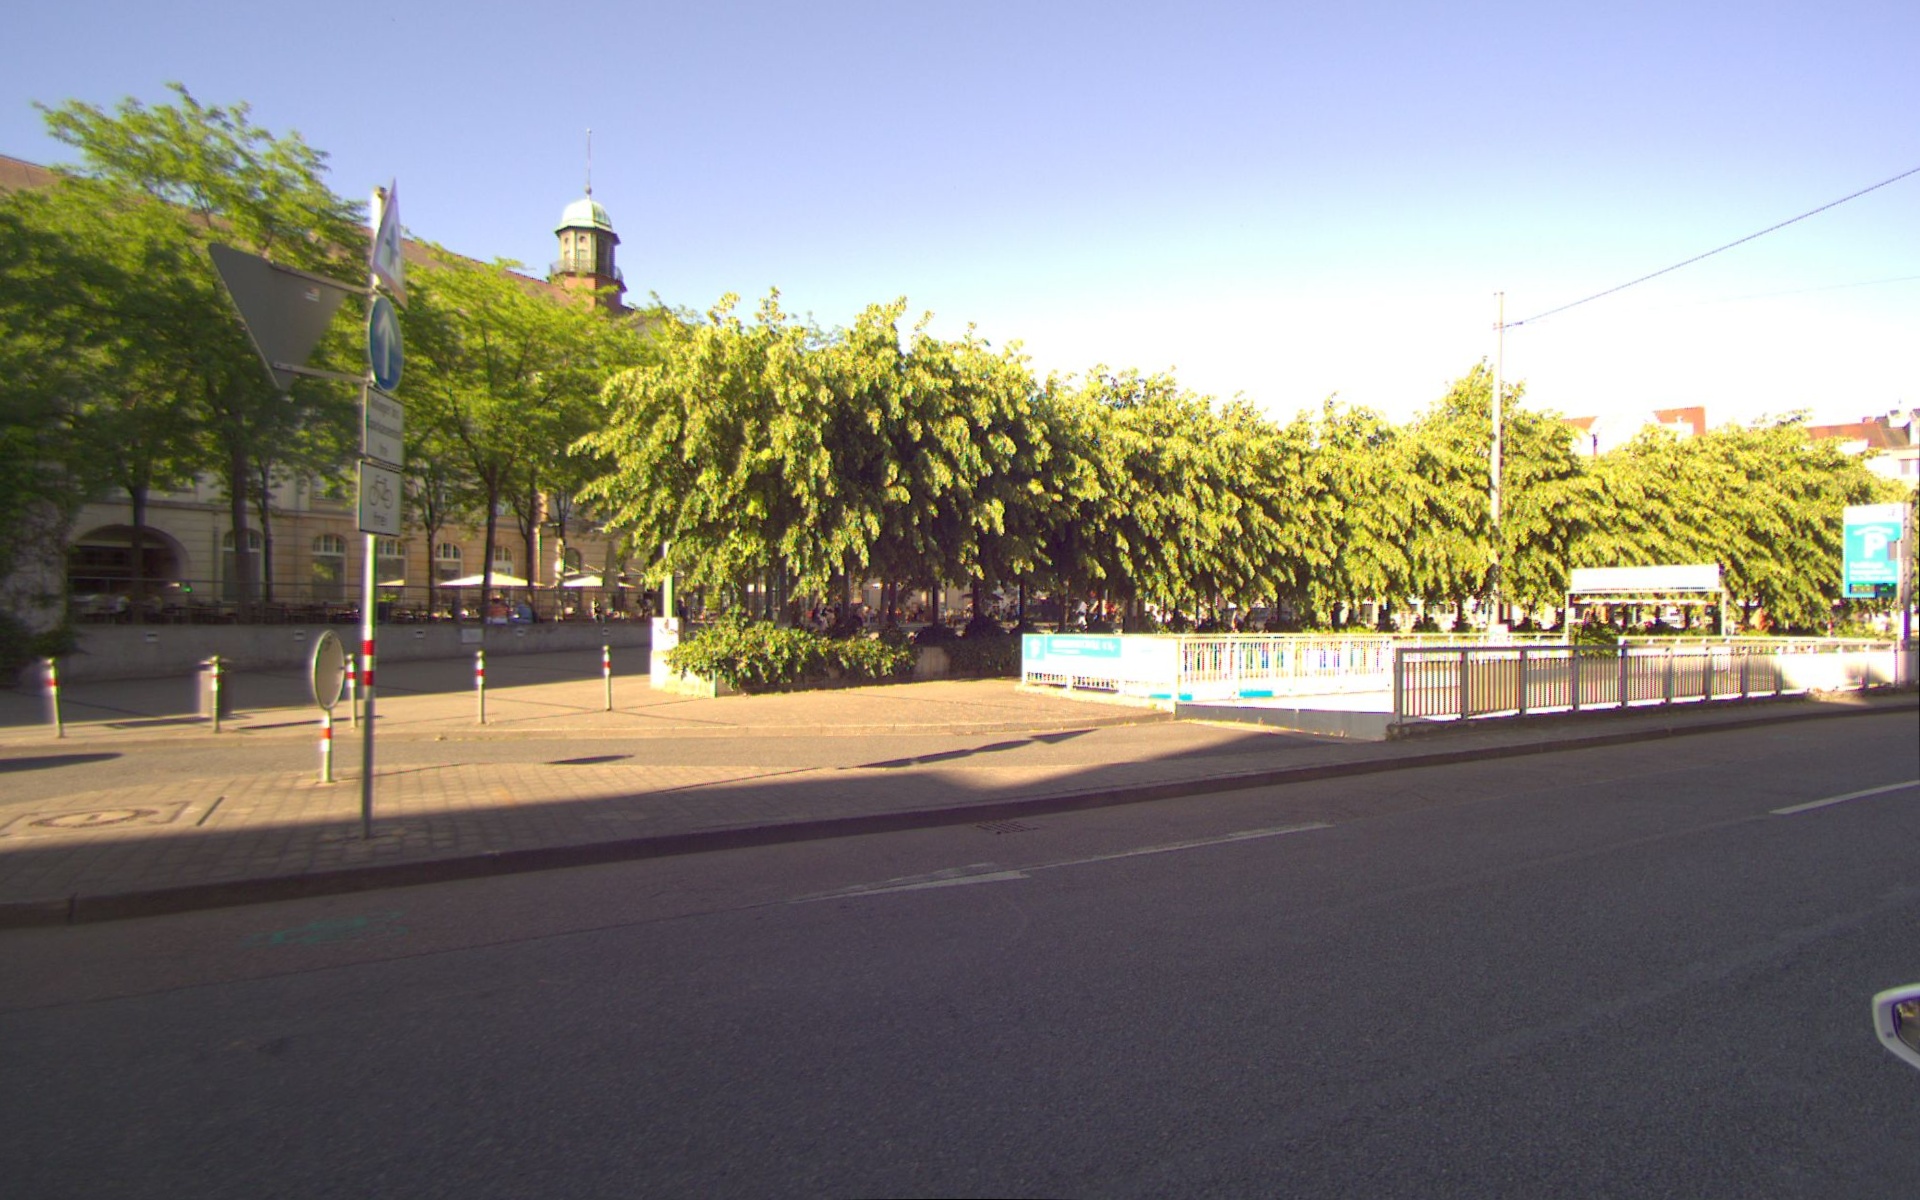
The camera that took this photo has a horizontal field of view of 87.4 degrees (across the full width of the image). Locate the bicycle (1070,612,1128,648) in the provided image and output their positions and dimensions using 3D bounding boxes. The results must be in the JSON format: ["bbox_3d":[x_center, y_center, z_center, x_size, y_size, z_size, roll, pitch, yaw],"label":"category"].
[{"bbox_3d":[6.153,1.305,44.401,2.662,1.523,0.957,1,0,-36],"label":"bicycle"}]

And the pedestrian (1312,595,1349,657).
[{"bbox_3d":[12.814,0.894,34.770,0.949,2.136,0.733,1,0,-8],"label":"pedestrian"}]

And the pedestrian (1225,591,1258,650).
[{"bbox_3d":[10.491,0.762,37.474,0.949,2.136,0.733,1,0,-8],"label":"pedestrian"}]

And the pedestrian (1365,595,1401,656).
[{"bbox_3d":[15.037,0.918,35.714,0.949,2.136,0.733,1,0,-8],"label":"pedestrian"}]

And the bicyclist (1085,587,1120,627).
[{"bbox_3d":[6.312,0.313,44.491,1.199,1.723,0.957,1,0,-36],"label":"bicyclist"}]
